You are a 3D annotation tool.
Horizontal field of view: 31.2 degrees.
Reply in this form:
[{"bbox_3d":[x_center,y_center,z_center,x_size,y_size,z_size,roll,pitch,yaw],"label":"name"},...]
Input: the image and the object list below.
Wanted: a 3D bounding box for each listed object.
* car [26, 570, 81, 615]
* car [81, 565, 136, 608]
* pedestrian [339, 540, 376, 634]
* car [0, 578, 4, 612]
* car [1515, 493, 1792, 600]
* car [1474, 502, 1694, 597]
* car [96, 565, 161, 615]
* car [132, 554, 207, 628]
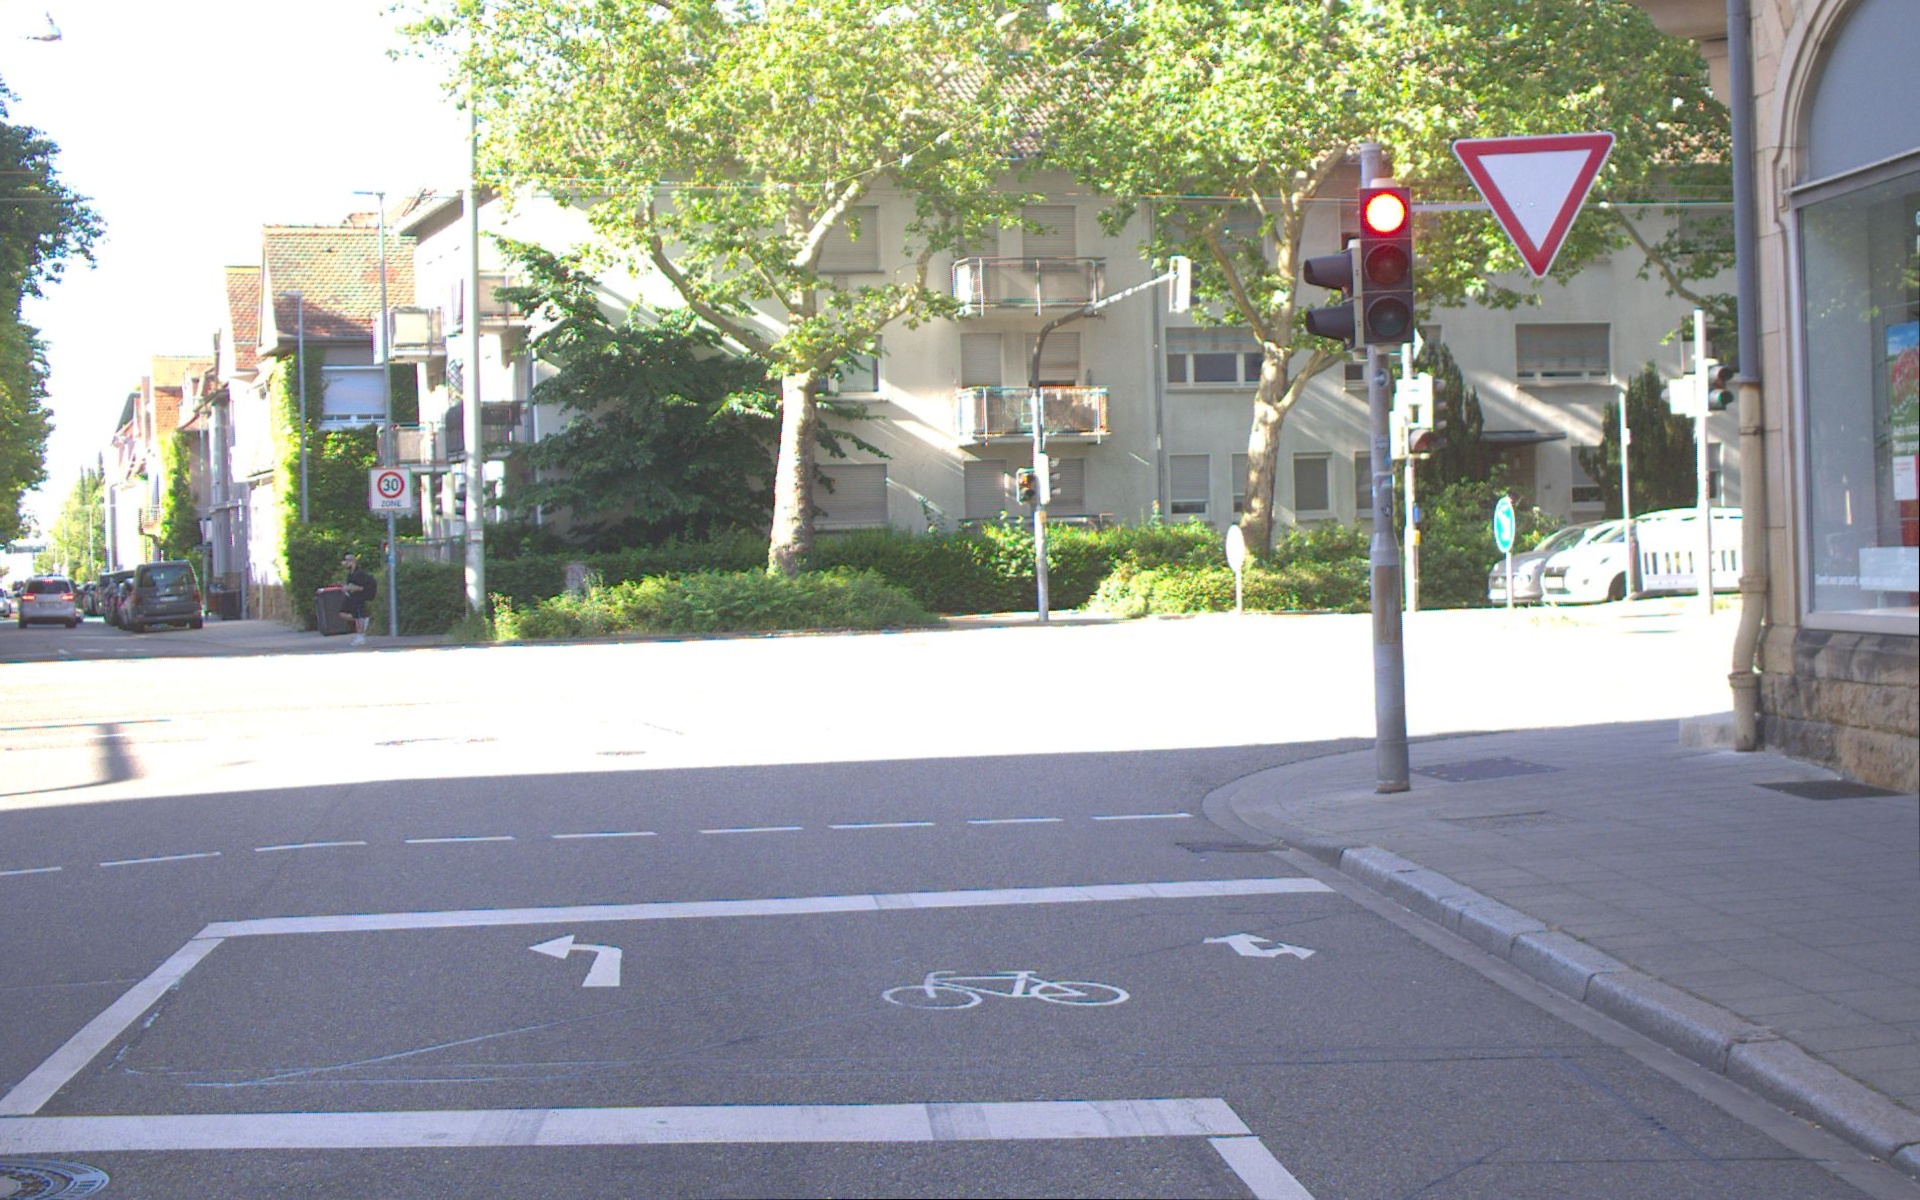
[{"bbox_3d":[-30.561,-0.250,116.013,1.673,1.477,3.523,-1,0,-13],"label":"car"},{"bbox_3d":[-37.023,-0.587,149.379,1.993,1.826,4.001,-1,0,-19],"label":"car"},{"bbox_3d":[-11.300,-0.247,64.501,0.633,1.744,0.659,-1,0,-7],"label":"pedestrian"},{"bbox_3d":[-43.503,-0.199,152.435,1.993,1.441,4.001,-2,2,-17],"label":"car"},{"bbox_3d":[10.428,-0.813,51.727,3.786,1.467,1.630,-3,1,-23],"label":"car"},{"bbox_3d":[10.615,-0.868,58.510,3.379,1.482,1.525,-2,2,-24],"label":"car"},{"bbox_3d":[-31.168,-0.386,128.810,1.993,1.826,4.001,-1,0,-19],"label":"car"},{"bbox_3d":[-22.653,-0.285,98.608,1.993,2.006,4.001,-2,1,-12],"label":"car"}]
